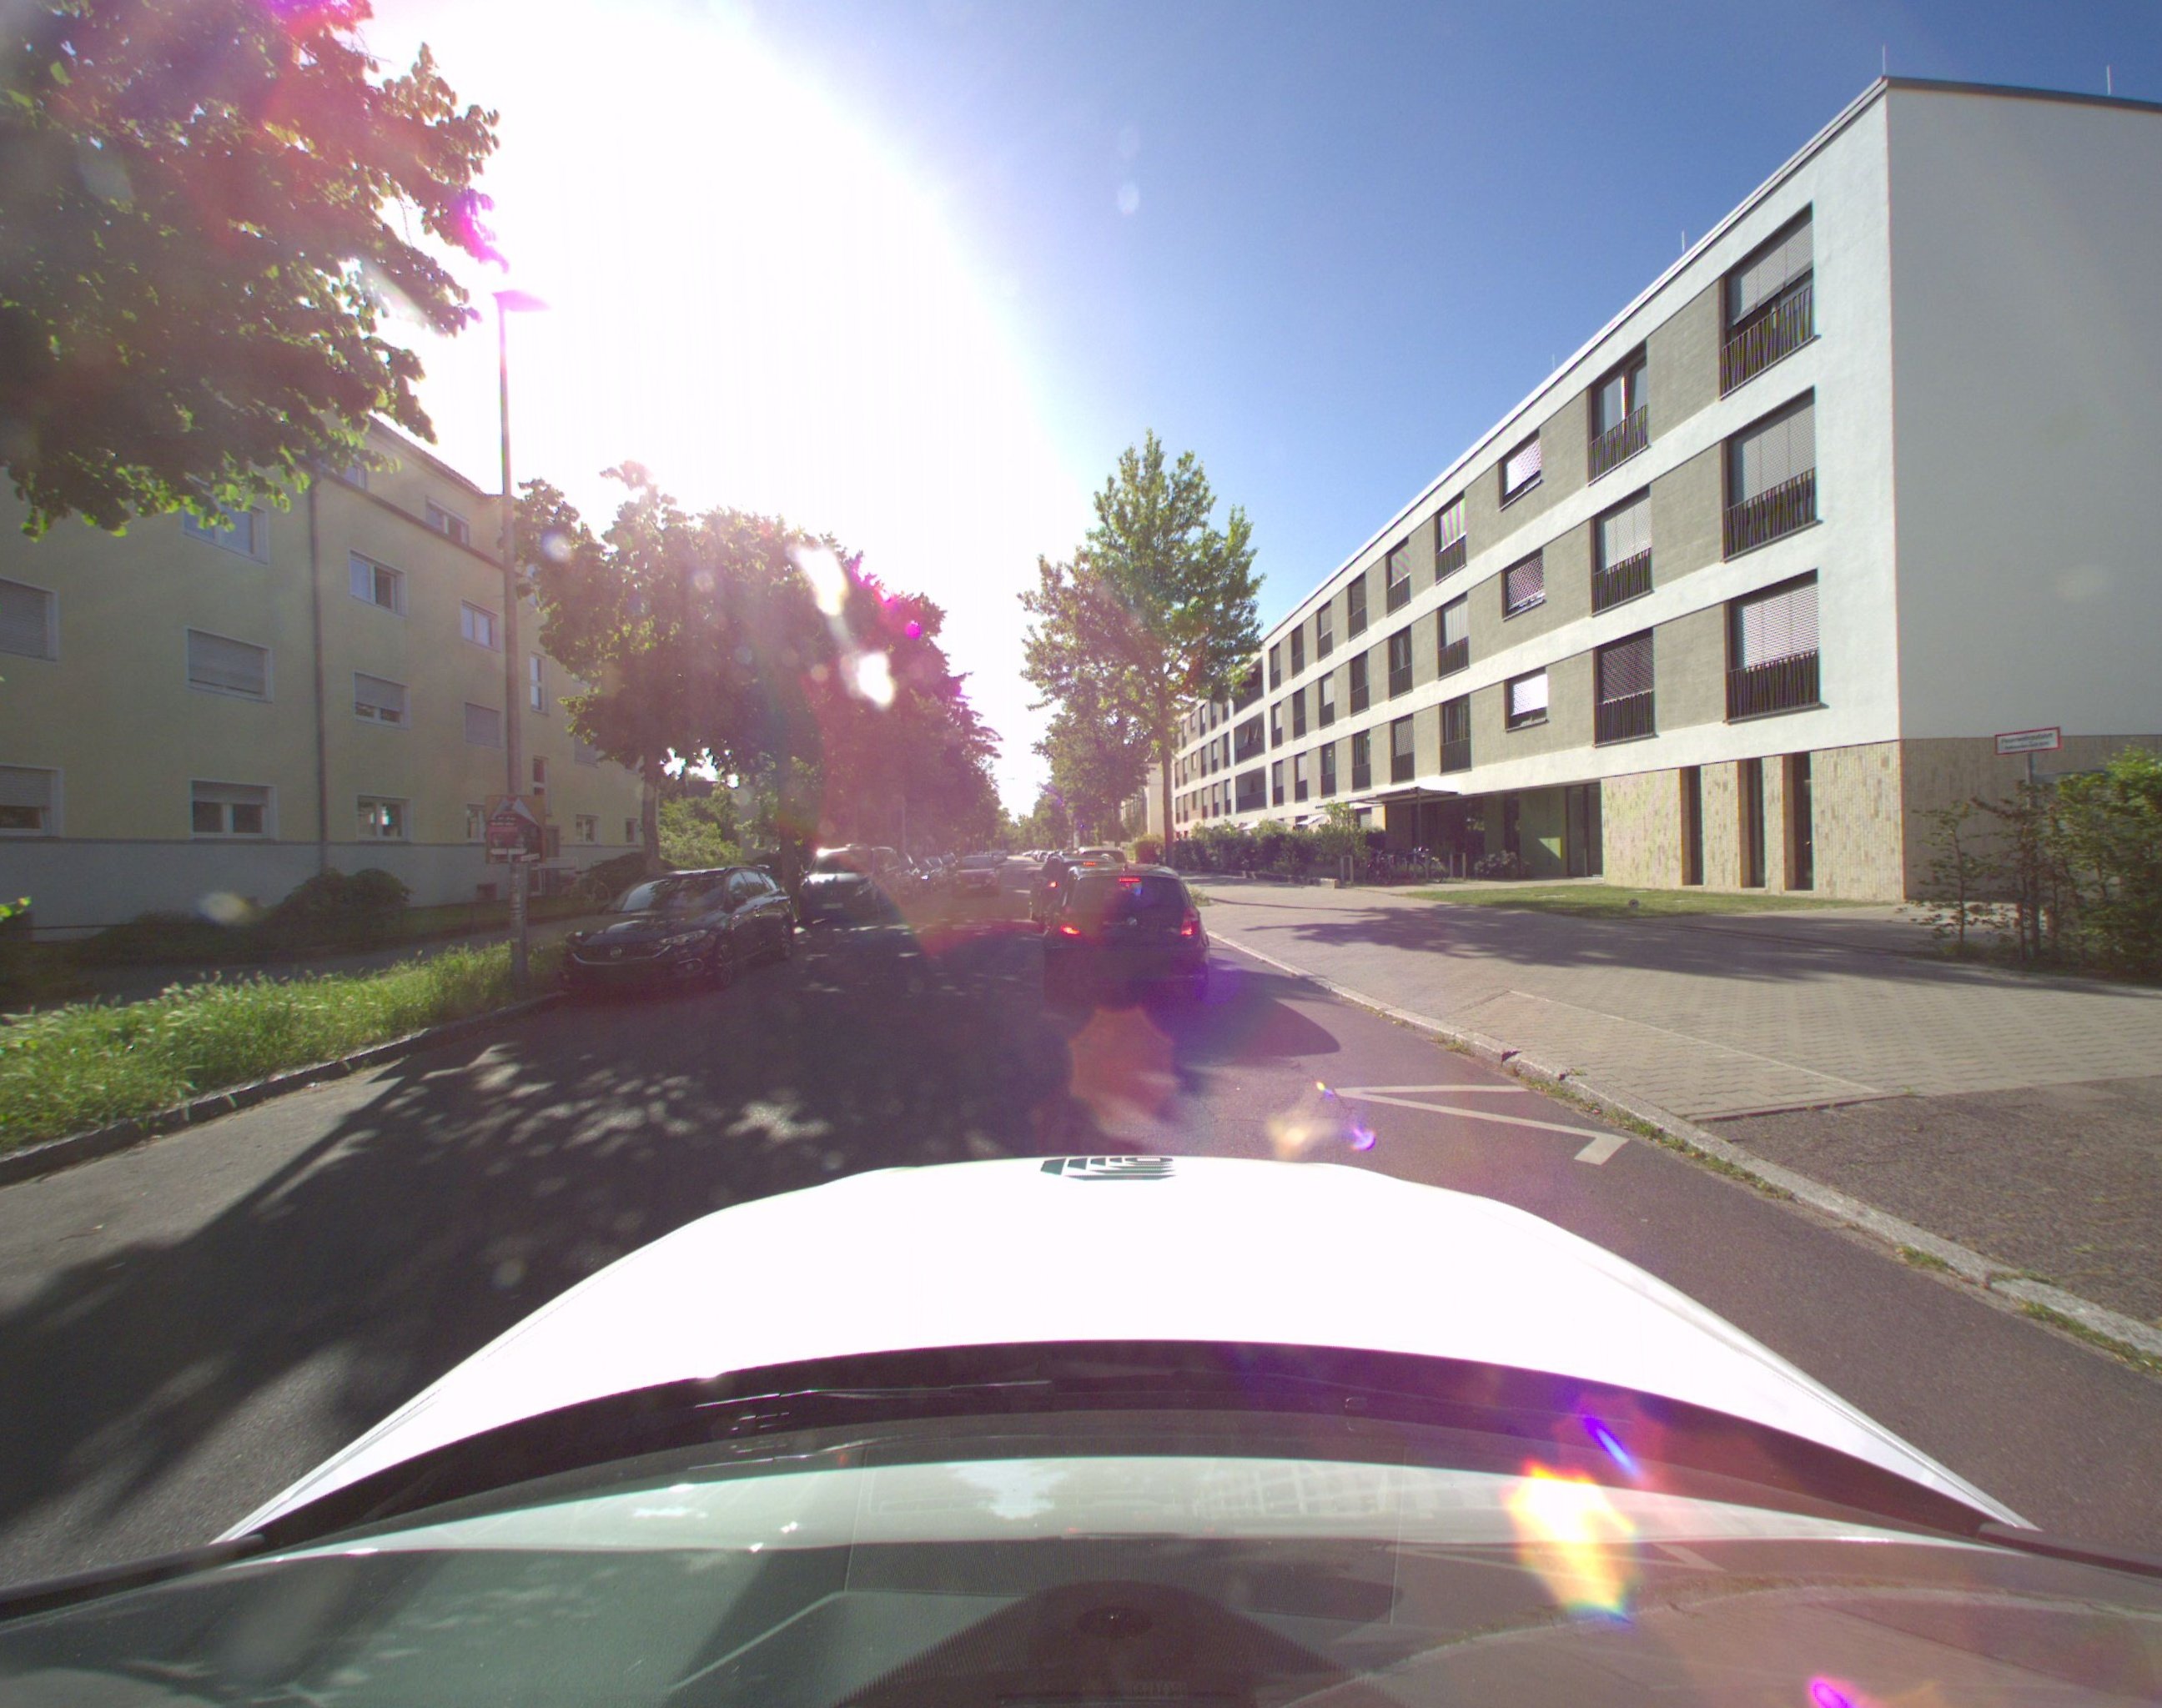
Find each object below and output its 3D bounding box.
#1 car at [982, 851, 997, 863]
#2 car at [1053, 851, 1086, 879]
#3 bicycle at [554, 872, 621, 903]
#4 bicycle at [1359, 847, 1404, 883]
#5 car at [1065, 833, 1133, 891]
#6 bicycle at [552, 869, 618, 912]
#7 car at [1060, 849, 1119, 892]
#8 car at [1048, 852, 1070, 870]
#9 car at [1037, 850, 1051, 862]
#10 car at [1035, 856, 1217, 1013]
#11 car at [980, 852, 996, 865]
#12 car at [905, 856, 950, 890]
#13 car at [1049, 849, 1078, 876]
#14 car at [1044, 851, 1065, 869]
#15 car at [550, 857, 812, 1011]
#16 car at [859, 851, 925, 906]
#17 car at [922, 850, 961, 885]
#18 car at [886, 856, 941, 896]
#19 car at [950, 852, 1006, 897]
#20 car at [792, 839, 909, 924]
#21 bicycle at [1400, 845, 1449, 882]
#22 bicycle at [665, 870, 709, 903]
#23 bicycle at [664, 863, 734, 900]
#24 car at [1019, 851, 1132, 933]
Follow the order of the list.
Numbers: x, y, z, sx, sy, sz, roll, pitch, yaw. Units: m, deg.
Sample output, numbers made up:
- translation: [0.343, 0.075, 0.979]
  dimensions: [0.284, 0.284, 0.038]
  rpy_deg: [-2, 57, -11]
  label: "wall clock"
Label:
- translation: [-11.151, 0.347, 99.328]
  dimensions: [1.609, 1.392, 3.859]
  rpy_deg: [-3, 0, -5]
  label: "car"
- translation: [-0.677, 0.580, 45.512]
  dimensions: [1.717, 1.528, 3.996]
  rpy_deg: [0, 0, -3]
  label: "car"
- translation: [-17.618, 1.179, 29.094]
  dimensions: [1.923, 0.991, 0.594]
  rpy_deg: [-2, 0, -12]
  label: "bicycle"
- translation: [9.109, 0.325, 24.735]
  dimensions: [0.545, 1.055, 1.687]
  rpy_deg: [-3, 0, -7]
  label: "bicycle"
- translation: [0.462, 0.237, 25.442]
  dimensions: [1.843, 1.631, 4.406]
  rpy_deg: [-1, 0, -2]
  label: "car"
- translation: [-12.740, 0.918, 21.002]
  dimensions: [0.593, 0.991, 1.925]
  rpy_deg: [-2, 0, -4]
  label: "bicycle"
- translation: [0.266, 0.588, 31.127]
  dimensions: [1.692, 1.524, 3.989]
  rpy_deg: [-1, 0, -8]
  label: "car"
- translation: [-1.843, 0.547, 66.582]
  dimensions: [1.717, 1.379, 3.847]
  rpy_deg: [0, 0, -3]
  label: "car"
- translation: [-4.841, 0.236, 106.493]
  dimensions: [1.716, 1.480, 3.849]
  rpy_deg: [-2, 0, -1]
  label: "car"
- translation: [0.349, 0.769, 9.519]
  dimensions: [1.646, 1.396, 3.406]
  rpy_deg: [-2, 1, -5]
  label: "car"
- translation: [-10.709, 0.552, 93.929]
  dimensions: [1.609, 1.392, 3.859]
  rpy_deg: [-3, 0, -5]
  label: "car"
- translation: [-7.065, 0.838, 37.790]
  dimensions: [1.609, 1.427, 3.719]
  rpy_deg: [-3, 0, -5]
  label: "car"
- translation: [-1.115, 0.504, 51.495]
  dimensions: [1.717, 1.641, 3.847]
  rpy_deg: [0, 0, -3]
  label: "car"
- translation: [-2.348, 0.487, 71.337]
  dimensions: [1.717, 1.480, 3.847]
  rpy_deg: [0, 0, -3]
  label: "car"
- translation: [-5.181, 0.883, 11.354]
  dimensions: [1.505, 1.548, 4.771]
  rpy_deg: [-4, 0, -4]
  label: "car"
- translation: [-6.270, 0.753, 27.433]
  dimensions: [1.610, 1.611, 4.220]
  rpy_deg: [-3, 0, -6]
  label: "car"
- translation: [-7.360, 0.687, 43.216]
  dimensions: [1.609, 1.678, 4.227]
  rpy_deg: [-3, 0, -5]
  label: "car"
- translation: [-6.658, 0.833, 32.720]
  dimensions: [1.609, 1.427, 4.051]
  rpy_deg: [-3, 0, -5]
  label: "car"
- translation: [-3.624, 0.697, 29.145]
  dimensions: [1.500, 1.426, 3.178]
  rpy_deg: [-2, 0, 0]
  label: "car"
- translation: [-5.963, 0.626, 21.699]
  dimensions: [1.822, 1.904, 5.135]
  rpy_deg: [-3, 0, -3]
  label: "car"
- translation: [10.462, 0.277, 24.887]
  dimensions: [0.545, 1.055, 1.776]
  rpy_deg: [-3, 0, -7]
  label: "bicycle"
- translation: [-13.008, 1.053, 26.951]
  dimensions: [0.593, 0.991, 1.925]
  rpy_deg: [-2, 0, -4]
  label: "bicycle"
- translation: [-13.932, 0.986, 29.752]
  dimensions: [2.149, 1.208, 0.687]
  rpy_deg: [-2, 0, -15]
  label: "bicycle"
- translation: [-0.238, 0.679, 16.841]
  dimensions: [1.650, 1.425, 3.987]
  rpy_deg: [-2, 1, -10]
  label: "car"
